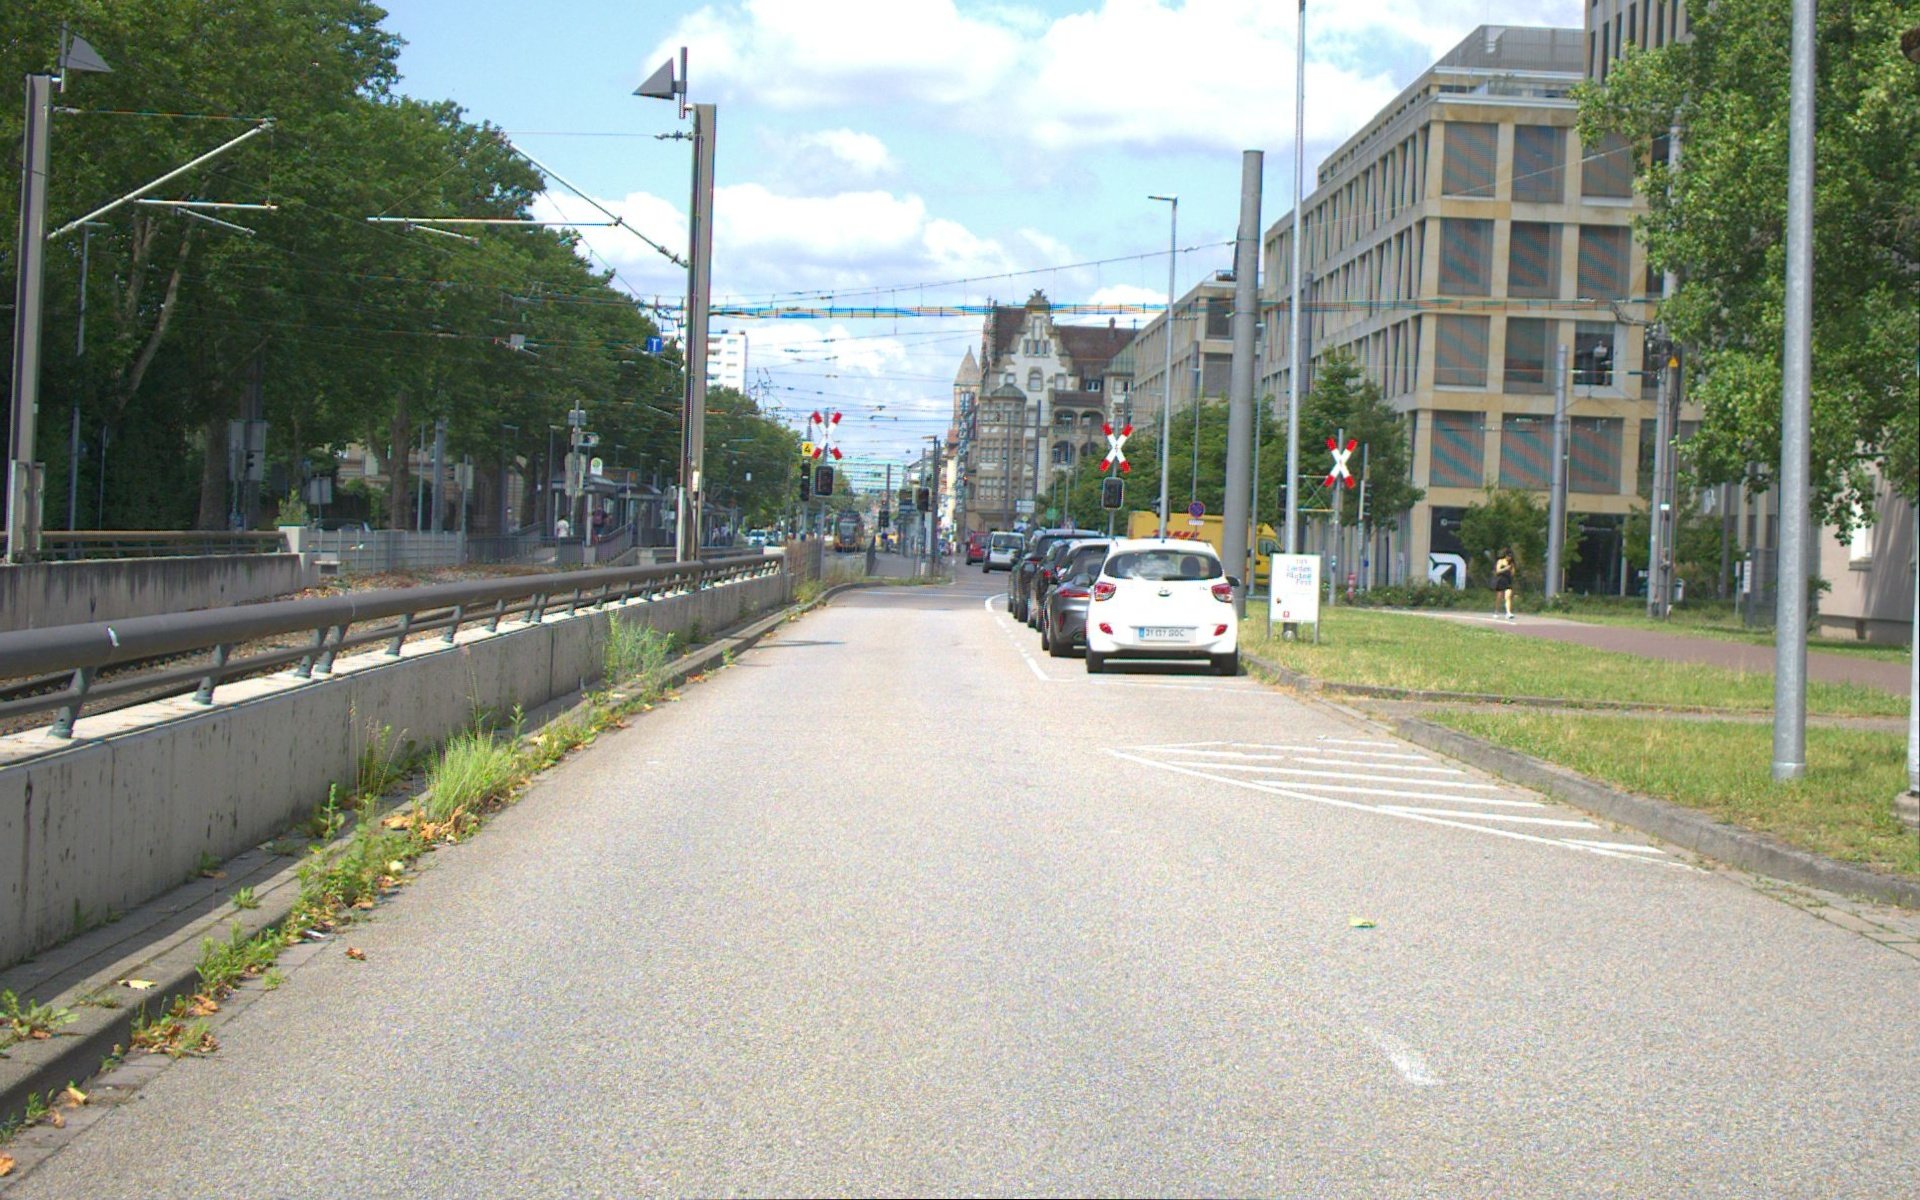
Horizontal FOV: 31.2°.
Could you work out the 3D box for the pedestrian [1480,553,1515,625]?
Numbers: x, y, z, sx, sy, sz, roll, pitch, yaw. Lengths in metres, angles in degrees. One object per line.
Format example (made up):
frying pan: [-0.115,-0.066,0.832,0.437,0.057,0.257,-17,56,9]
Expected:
pedestrian: [11.917,-0.246,76.231,0.622,1.602,0.624,1,1,-3]

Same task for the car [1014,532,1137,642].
car: [1.631,-0.213,49.491,1.669,1.510,3.851,1,1,1]

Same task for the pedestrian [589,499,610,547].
pedestrian: [-13.866,-2.963,132.228,0.706,1.839,0.864,1,1,-2]

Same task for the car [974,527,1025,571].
car: [1.663,-2.173,145.682,1.868,1.740,4.000,4,1,-2]

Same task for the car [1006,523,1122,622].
car: [1.824,-0.520,61.401,1.816,1.656,4.671,1,1,-1]

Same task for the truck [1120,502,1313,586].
truck: [9.516,-2.072,128.110,6.805,2.857,2.455,2,1,-3]

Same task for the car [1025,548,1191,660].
car: [1.851,0.014,44.206,1.824,1.307,4.443,1,1,-1]

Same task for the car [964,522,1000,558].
car: [1.259,-3.424,197.641,1.993,2.007,4.000,1,1,-1]

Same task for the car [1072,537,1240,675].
car: [2.199,0.038,39.337,1.707,1.474,3.790,1,1,0]
